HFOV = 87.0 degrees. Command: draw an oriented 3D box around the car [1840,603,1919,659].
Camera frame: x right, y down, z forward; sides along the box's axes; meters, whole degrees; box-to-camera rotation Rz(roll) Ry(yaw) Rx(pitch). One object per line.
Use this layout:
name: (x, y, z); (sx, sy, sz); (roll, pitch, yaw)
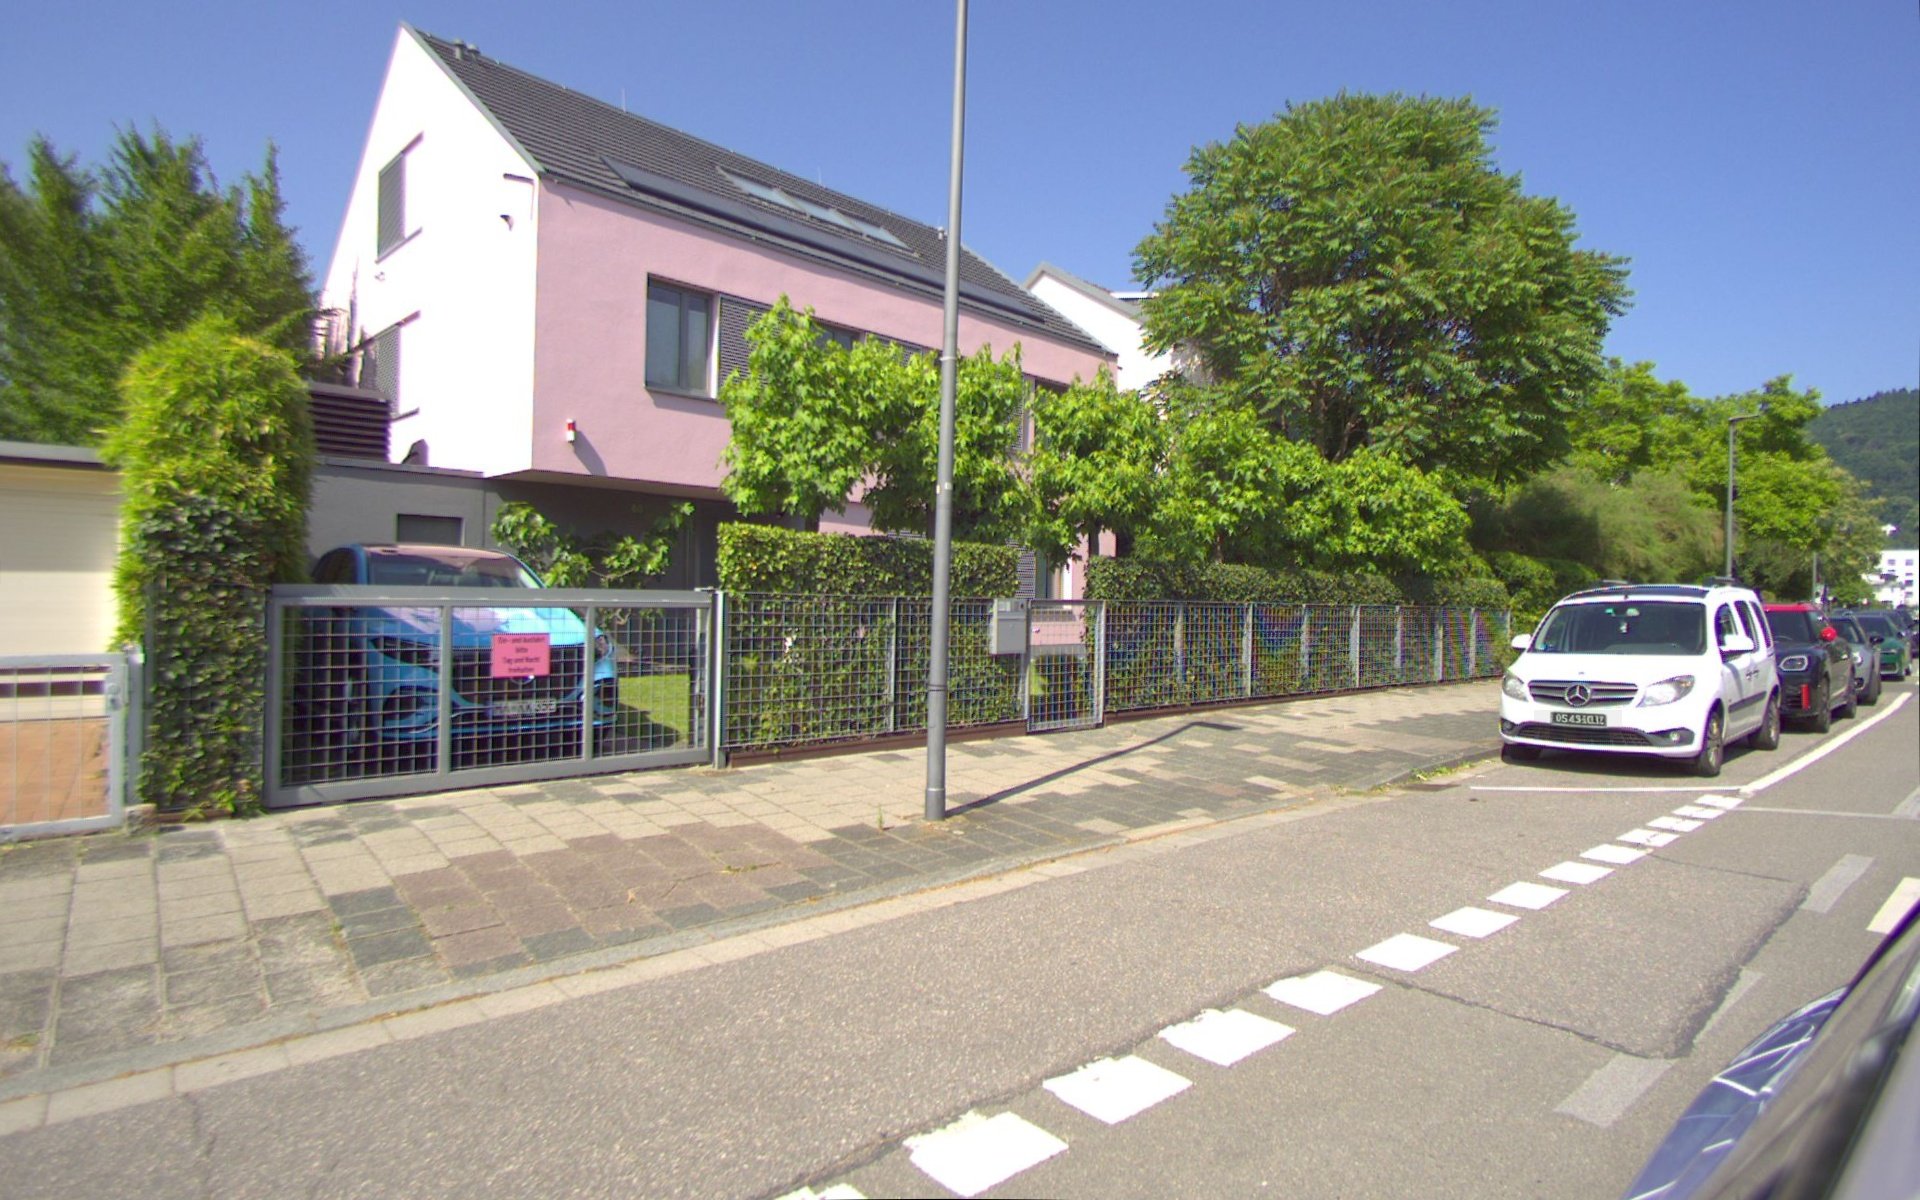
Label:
car: (28.160, 0.944, 30.812); (1.811, 1.579, 3.853); (-5, -4, 44)

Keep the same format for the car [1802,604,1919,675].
car: (21.077, 0.881, 23.452); (4.707, 1.482, 1.813); (1, -3, -43)

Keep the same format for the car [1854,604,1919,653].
car: (31.842, 0.955, 34.457); (1.812, 1.579, 4.525); (-2, -2, 45)

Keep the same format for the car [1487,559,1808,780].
car: (7.369, 0.586, 10.656); (4.520, 1.850, 1.764); (0, -1, -42)

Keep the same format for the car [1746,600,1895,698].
car: (15.229, 0.789, 17.834); (1.762, 1.462, 4.004); (2, 1, 44)

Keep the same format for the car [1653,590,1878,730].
car: (11.133, 0.723, 13.875); (4.239, 1.614, 1.764); (1, 0, -42)

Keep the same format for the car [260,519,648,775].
car: (-4.932, 0.299, 9.388); (1.944, 1.727, 5.094); (1, 0, -42)
